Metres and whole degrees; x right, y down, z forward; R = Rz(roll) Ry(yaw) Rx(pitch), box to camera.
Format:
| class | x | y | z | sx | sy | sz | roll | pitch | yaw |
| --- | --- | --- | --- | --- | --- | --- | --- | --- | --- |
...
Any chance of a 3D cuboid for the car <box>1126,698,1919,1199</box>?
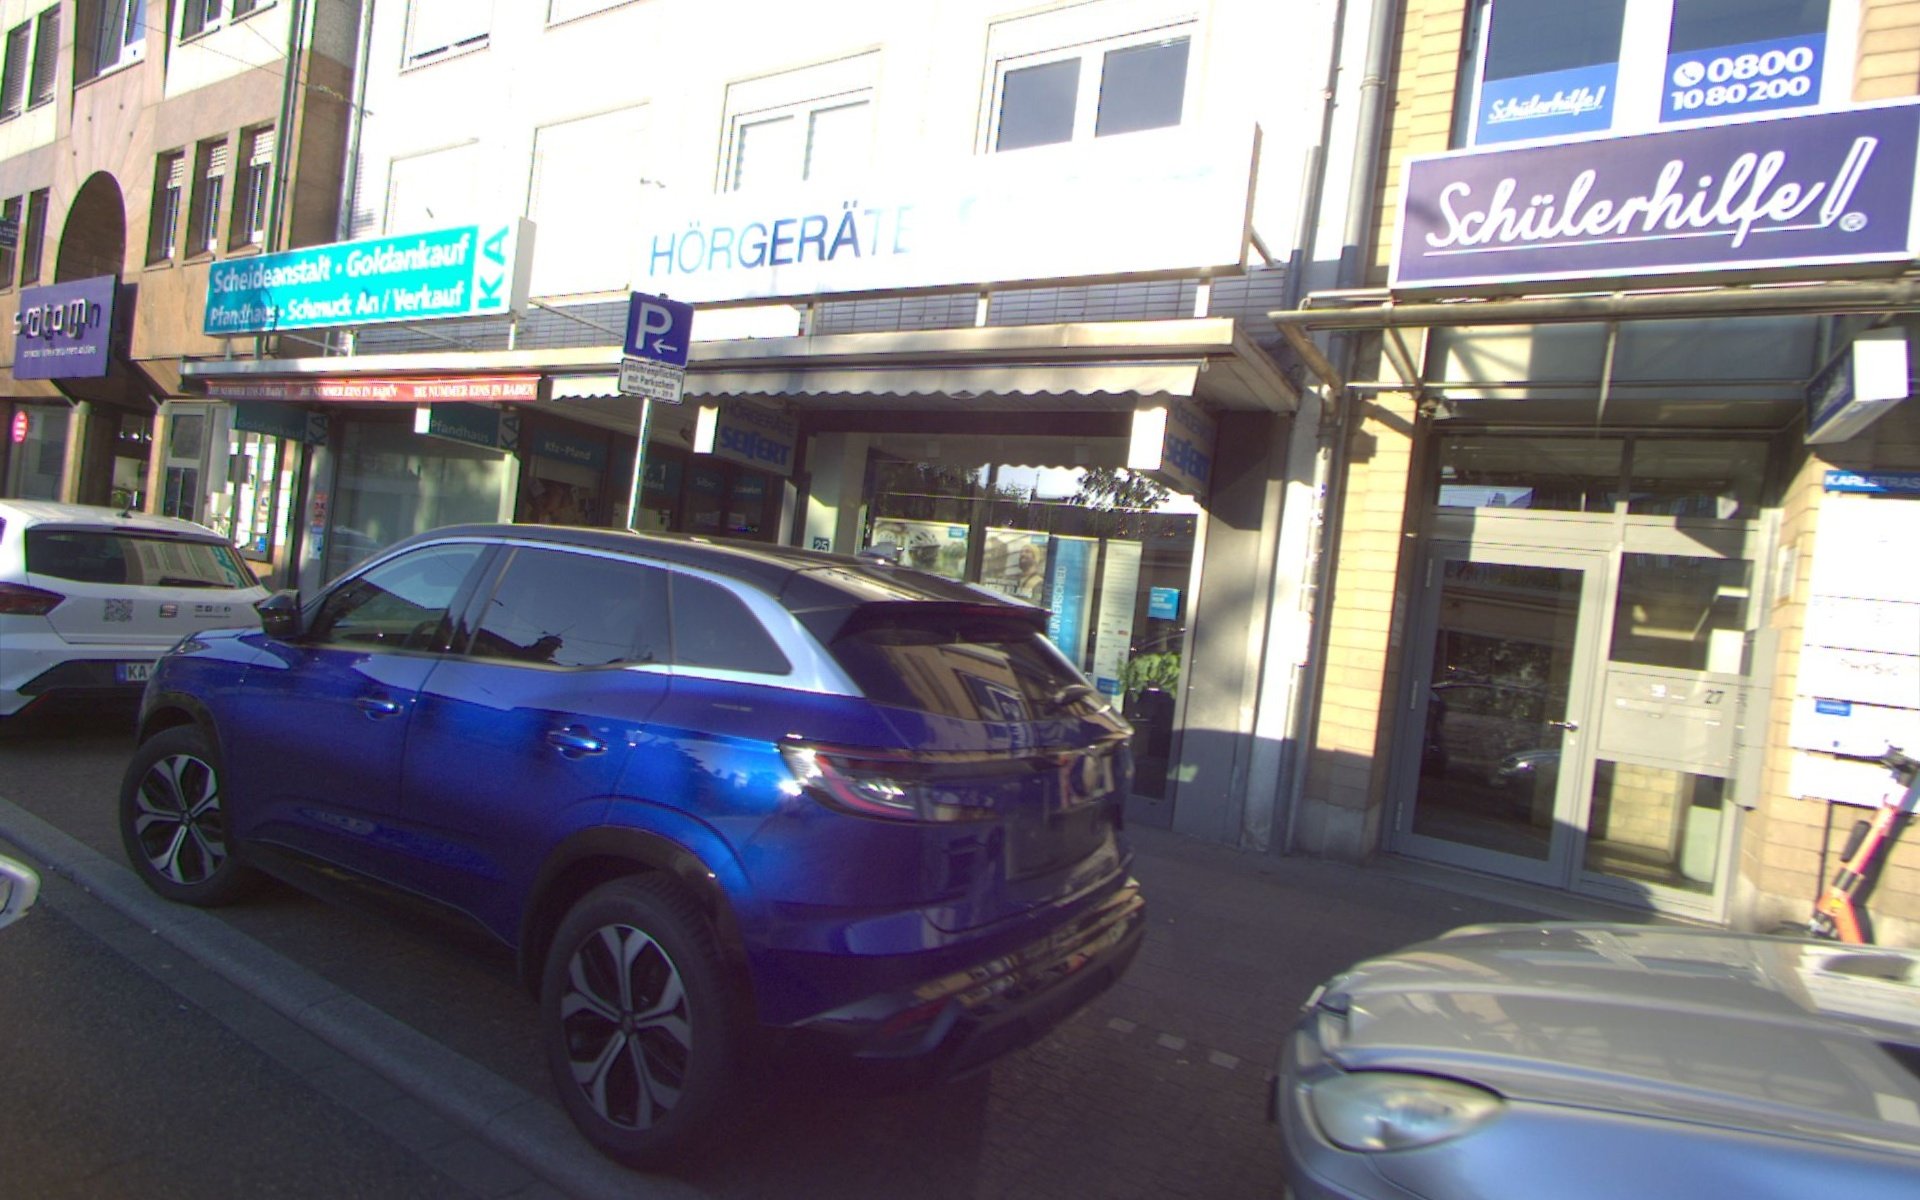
| class | x | y | z | sx | sy | sz | roll | pitch | yaw |
| --- | --- | --- | --- | --- | --- | --- | --- | --- | --- |
| car | 2.481 | 1.093 | 1.628 | 3.998 | 1.298 | 1.675 | 6 | 0 | 34 |

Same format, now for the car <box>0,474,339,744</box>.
| class | x | y | z | sx | sy | sz | roll | pitch | yaw |
| --- | --- | --- | --- | --- | --- | --- | --- | --- | --- |
| car | -6.505 | -0.052 | 7.163 | 4.082 | 1.453 | 1.733 | 5 | -1 | 30 |

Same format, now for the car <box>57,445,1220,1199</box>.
| class | x | y | z | sx | sy | sz | roll | pitch | yaw |
| --- | --- | --- | --- | --- | --- | --- | --- | --- | --- |
| car | -1.422 | 0.450 | 3.842 | 4.215 | 1.625 | 1.767 | 7 | 0 | 31 |

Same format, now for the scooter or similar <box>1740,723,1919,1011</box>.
| class | x | y | z | sx | sy | sz | roll | pitch | yaw |
| --- | --- | --- | --- | --- | --- | --- | --- | --- | --- |
| scooter or similar | 4.692 | 1.304 | 4.647 | 1.546 | 1.198 | 0.461 | 8 | 1 | 31 |
